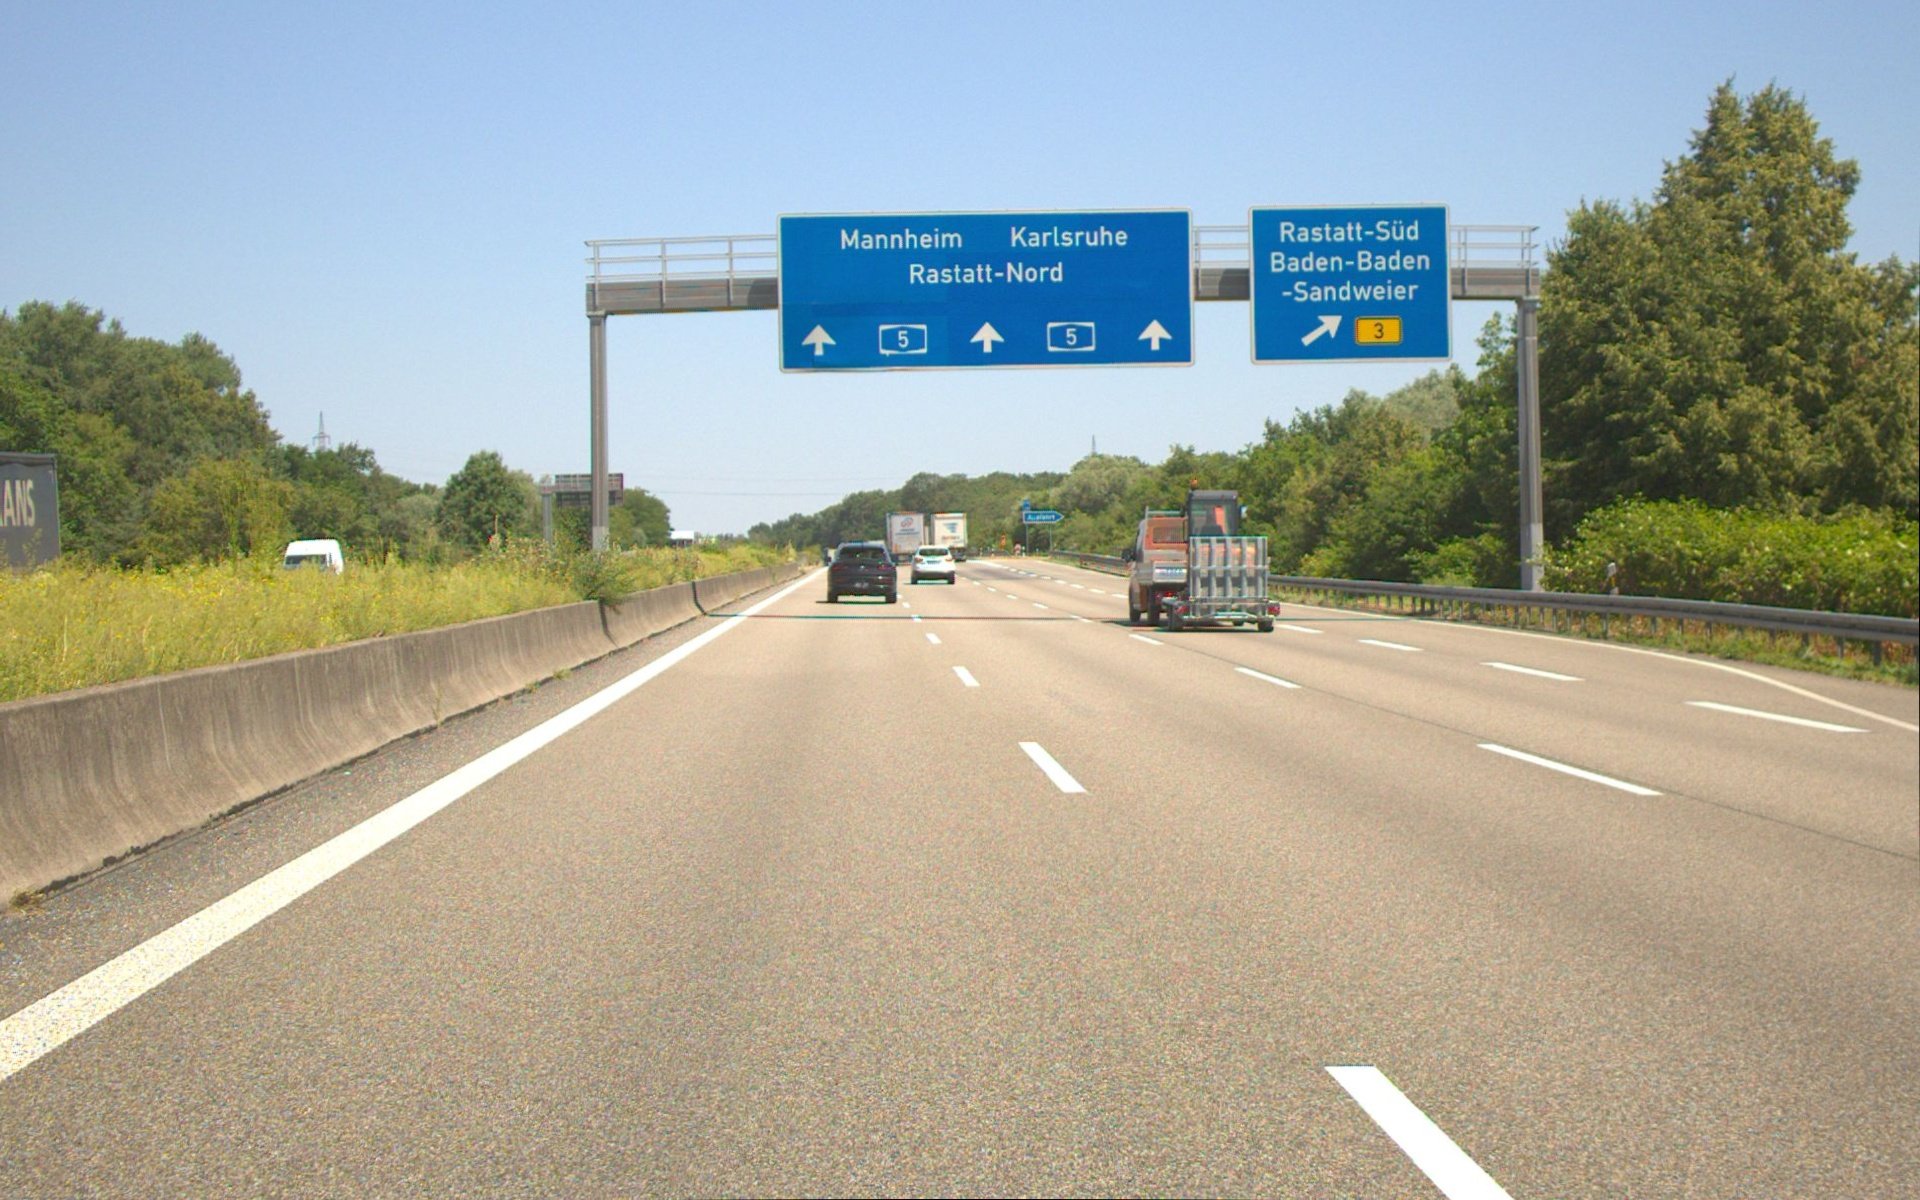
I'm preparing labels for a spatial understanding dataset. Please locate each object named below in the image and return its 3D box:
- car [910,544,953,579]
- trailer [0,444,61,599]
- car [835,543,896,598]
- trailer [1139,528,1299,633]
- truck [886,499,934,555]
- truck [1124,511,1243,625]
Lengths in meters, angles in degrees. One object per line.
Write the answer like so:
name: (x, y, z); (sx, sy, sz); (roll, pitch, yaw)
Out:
car: (-1.236, -1.658, 148.199); (1.740, 1.481, 4.000); (0, 0, -2)
trailer: (-20.350, -1.564, 67.435); (2.601, 3.091, 11.955); (1, 1, -2)
car: (-2.758, -0.866, 99.414); (1.660, 1.544, 3.784); (0, 1, -3)
trailer: (5.103, -0.422, 68.762); (2.420, 2.007, 6.034); (0, 1, -3)
truck: (-3.781, -5.447, 257.853); (3.309, 3.980, 8.405); (1, 0, -3)
truck: (4.775, -0.705, 74.109); (1.993, 2.365, 4.645); (0, 1, -3)
